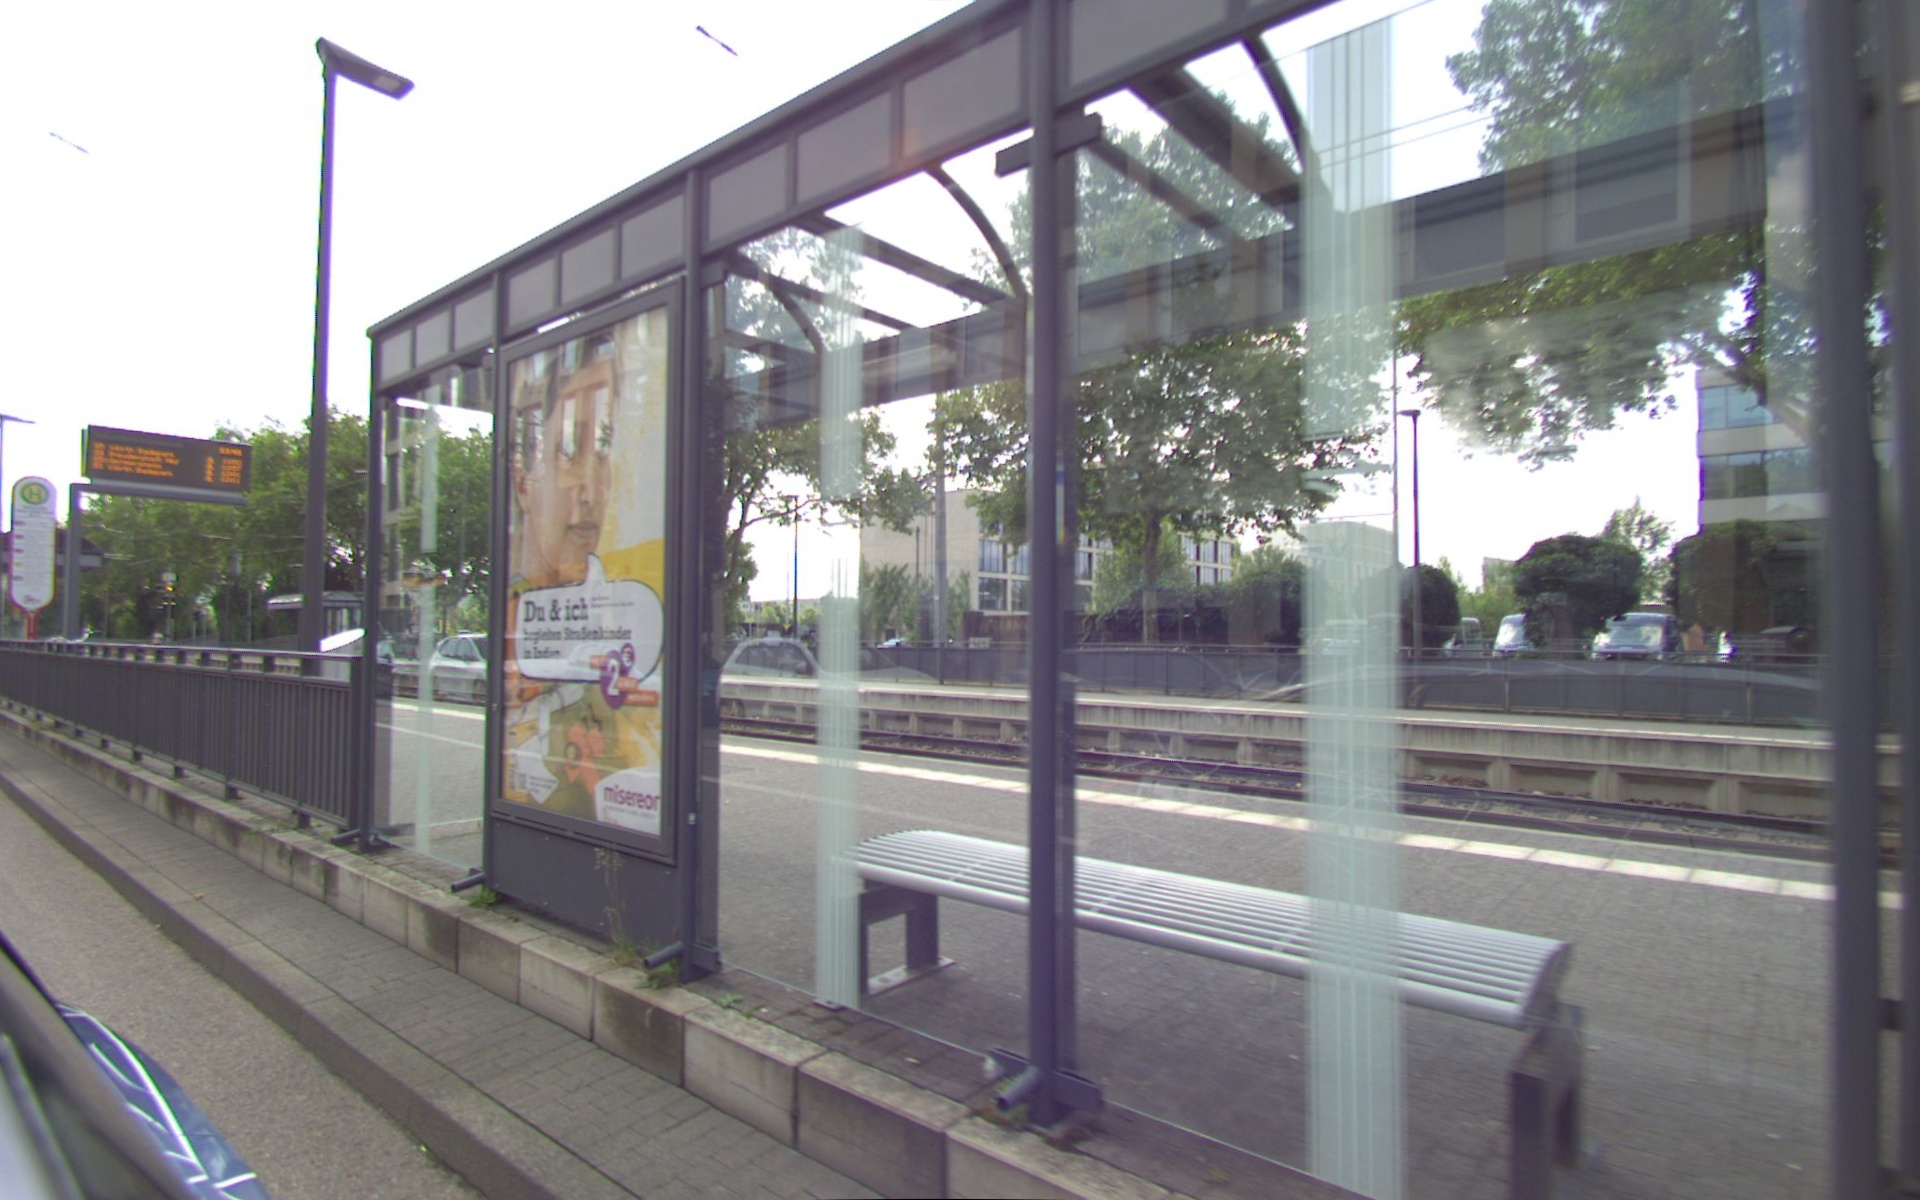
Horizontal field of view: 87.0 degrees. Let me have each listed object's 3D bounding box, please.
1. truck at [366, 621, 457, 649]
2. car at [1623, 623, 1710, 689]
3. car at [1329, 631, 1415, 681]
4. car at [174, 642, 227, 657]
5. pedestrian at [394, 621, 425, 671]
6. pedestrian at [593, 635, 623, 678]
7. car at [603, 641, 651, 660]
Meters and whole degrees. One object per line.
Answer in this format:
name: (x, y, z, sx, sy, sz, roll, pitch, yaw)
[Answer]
truck: (-88.924, 5.792, 164.440, 2.748, 4.105, 12.649, -2, -5, 42)
car: (23.353, 1.870, 33.413, 1.958, 2.049, 4.094, -2, -5, 40)
car: (15.851, 2.161, 38.852, 1.899, 1.810, 4.094, -2, -5, 40)
car: (-77.628, 5.036, 103.454, 1.999, 1.453, 3.945, -2, -3, 41)
pedestrian: (-20.506, 1.715, 37.700, 0.864, 1.859, 0.699, -2, -4, 40)
pedestrian: (-10.621, 1.694, 30.511, 0.767, 1.279, 0.546, -2, -4, 43)
car: (-26.504, 4.013, 80.485, 3.998, 1.487, 1.779, -2, -4, 41)
